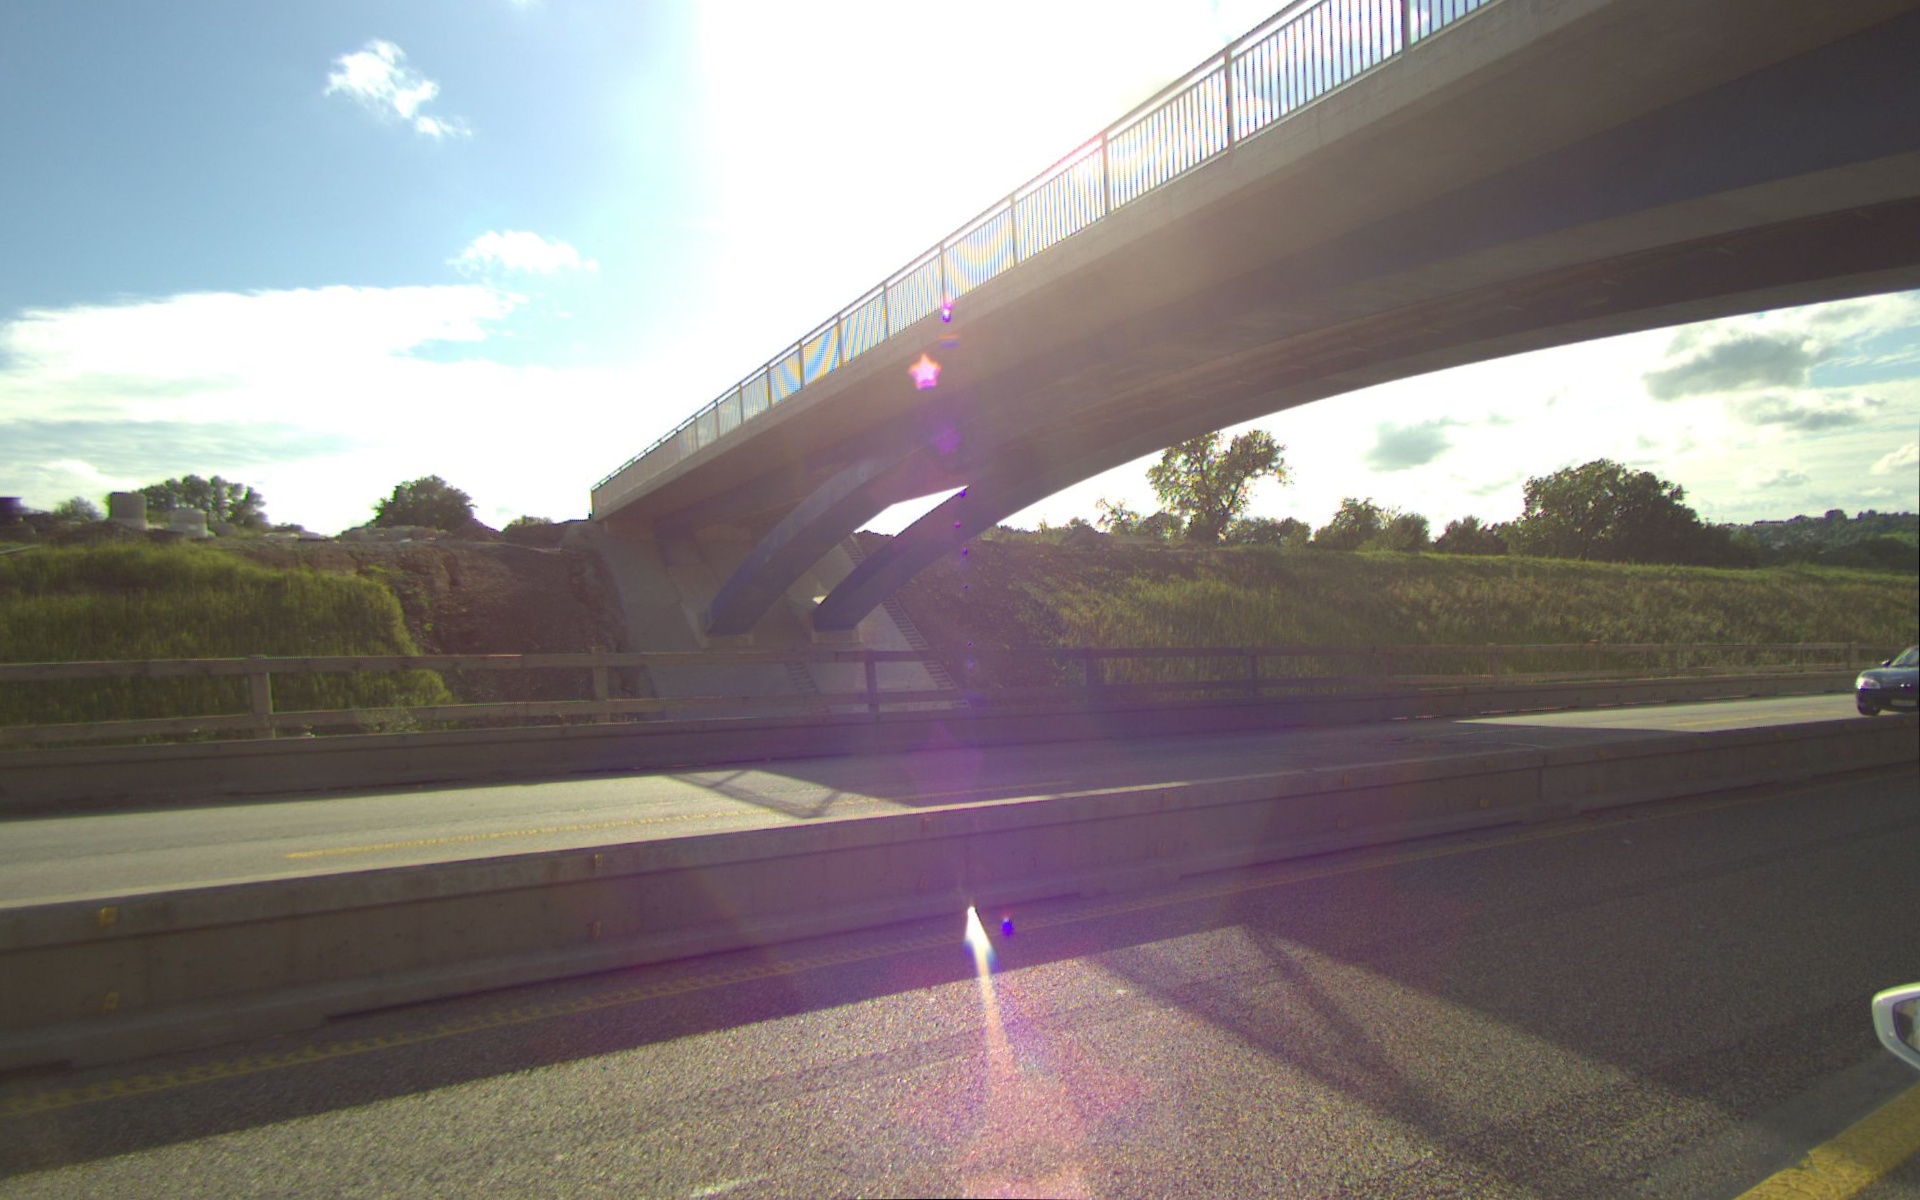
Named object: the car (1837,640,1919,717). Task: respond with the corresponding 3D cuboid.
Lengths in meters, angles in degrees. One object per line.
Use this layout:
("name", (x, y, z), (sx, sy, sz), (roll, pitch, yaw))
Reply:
("car", (16.485, 1.249, 16.673), (4.168, 1.170, 1.661), (1, -3, -31))
